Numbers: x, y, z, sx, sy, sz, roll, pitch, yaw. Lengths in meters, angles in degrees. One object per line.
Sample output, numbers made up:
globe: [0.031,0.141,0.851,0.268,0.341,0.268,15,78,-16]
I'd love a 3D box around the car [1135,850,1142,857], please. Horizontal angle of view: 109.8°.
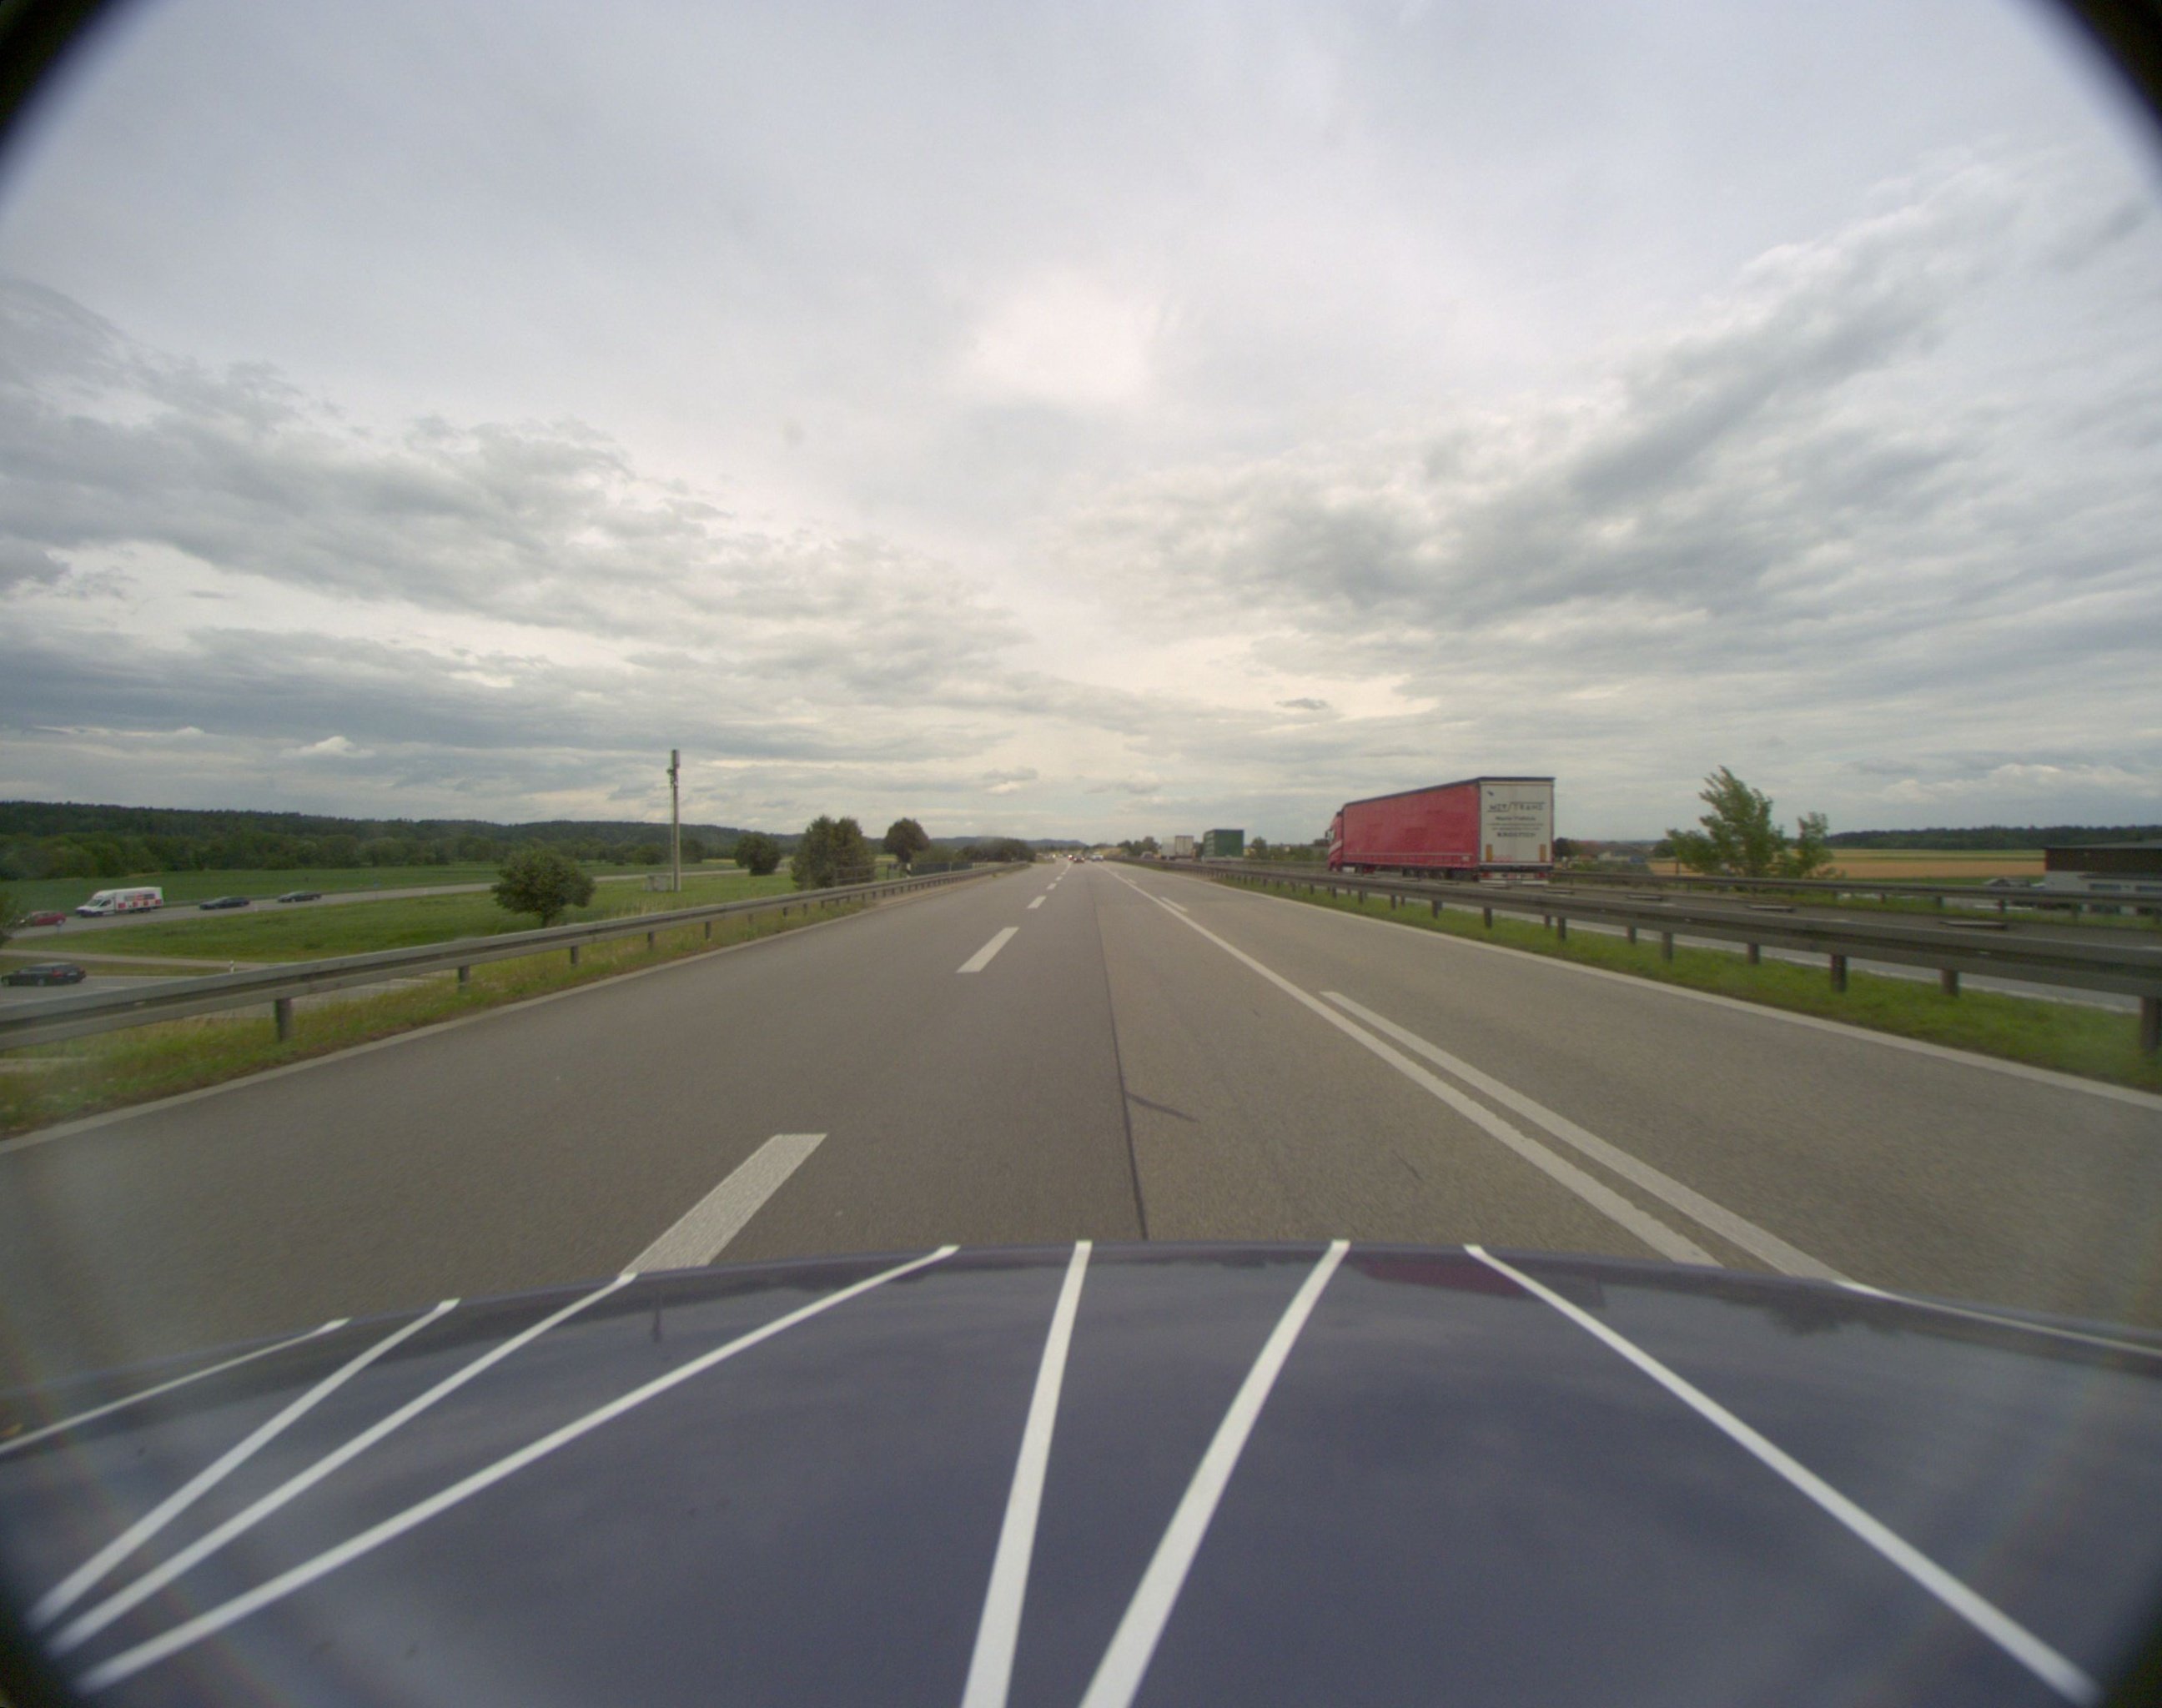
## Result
car: [17.790,-0.118,235.766,1.850,1.850,4.000,-3,0,1]

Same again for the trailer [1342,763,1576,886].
trailer: [14.741,-1.043,31.776,2.916,3.918,13.975,-2,1,1]

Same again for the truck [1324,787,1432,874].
truck: [14.794,-1.105,38.430,2.917,3.924,6.324,-2,1,0]

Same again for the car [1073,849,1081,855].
car: [-1.069,-0.546,193.361,1.850,1.655,4.000,0,0,1]

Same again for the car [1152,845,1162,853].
car: [18.708,-1.295,187.691,1.998,2.002,3.999,-2,1,0]

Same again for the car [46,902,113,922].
car: [-114.537,6.589,86.958,1.824,1.827,4.247,-2,1,22]

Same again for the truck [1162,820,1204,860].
truck: [15.156,-2.032,113.896,4.333,5.528,14.037,-2,1,0]

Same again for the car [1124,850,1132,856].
car: [13.015,-0.297,210.113,1.850,1.850,4.000,0,0,1]

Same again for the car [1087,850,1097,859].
car: [2.589,0.047,171.641,1.998,2.002,4.000,-2,1,3]

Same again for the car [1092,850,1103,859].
car: [2.944,0.042,136.529,1.850,1.665,4.200,0,0,3]

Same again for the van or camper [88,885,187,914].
van or camper: [-118.568,5.675,95.669,2.798,2.891,7.133,-5,0,14]

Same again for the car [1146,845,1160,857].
car: [11.183,-0.408,118.671,1.850,1.850,4.000,0,0,1]

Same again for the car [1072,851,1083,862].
car: [-0.582,0.442,125.337,1.850,1.850,4.000,0,0,1]

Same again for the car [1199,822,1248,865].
car: [11.468,-0.840,61.729,2.545,3.253,7.209,-2,1,0]
